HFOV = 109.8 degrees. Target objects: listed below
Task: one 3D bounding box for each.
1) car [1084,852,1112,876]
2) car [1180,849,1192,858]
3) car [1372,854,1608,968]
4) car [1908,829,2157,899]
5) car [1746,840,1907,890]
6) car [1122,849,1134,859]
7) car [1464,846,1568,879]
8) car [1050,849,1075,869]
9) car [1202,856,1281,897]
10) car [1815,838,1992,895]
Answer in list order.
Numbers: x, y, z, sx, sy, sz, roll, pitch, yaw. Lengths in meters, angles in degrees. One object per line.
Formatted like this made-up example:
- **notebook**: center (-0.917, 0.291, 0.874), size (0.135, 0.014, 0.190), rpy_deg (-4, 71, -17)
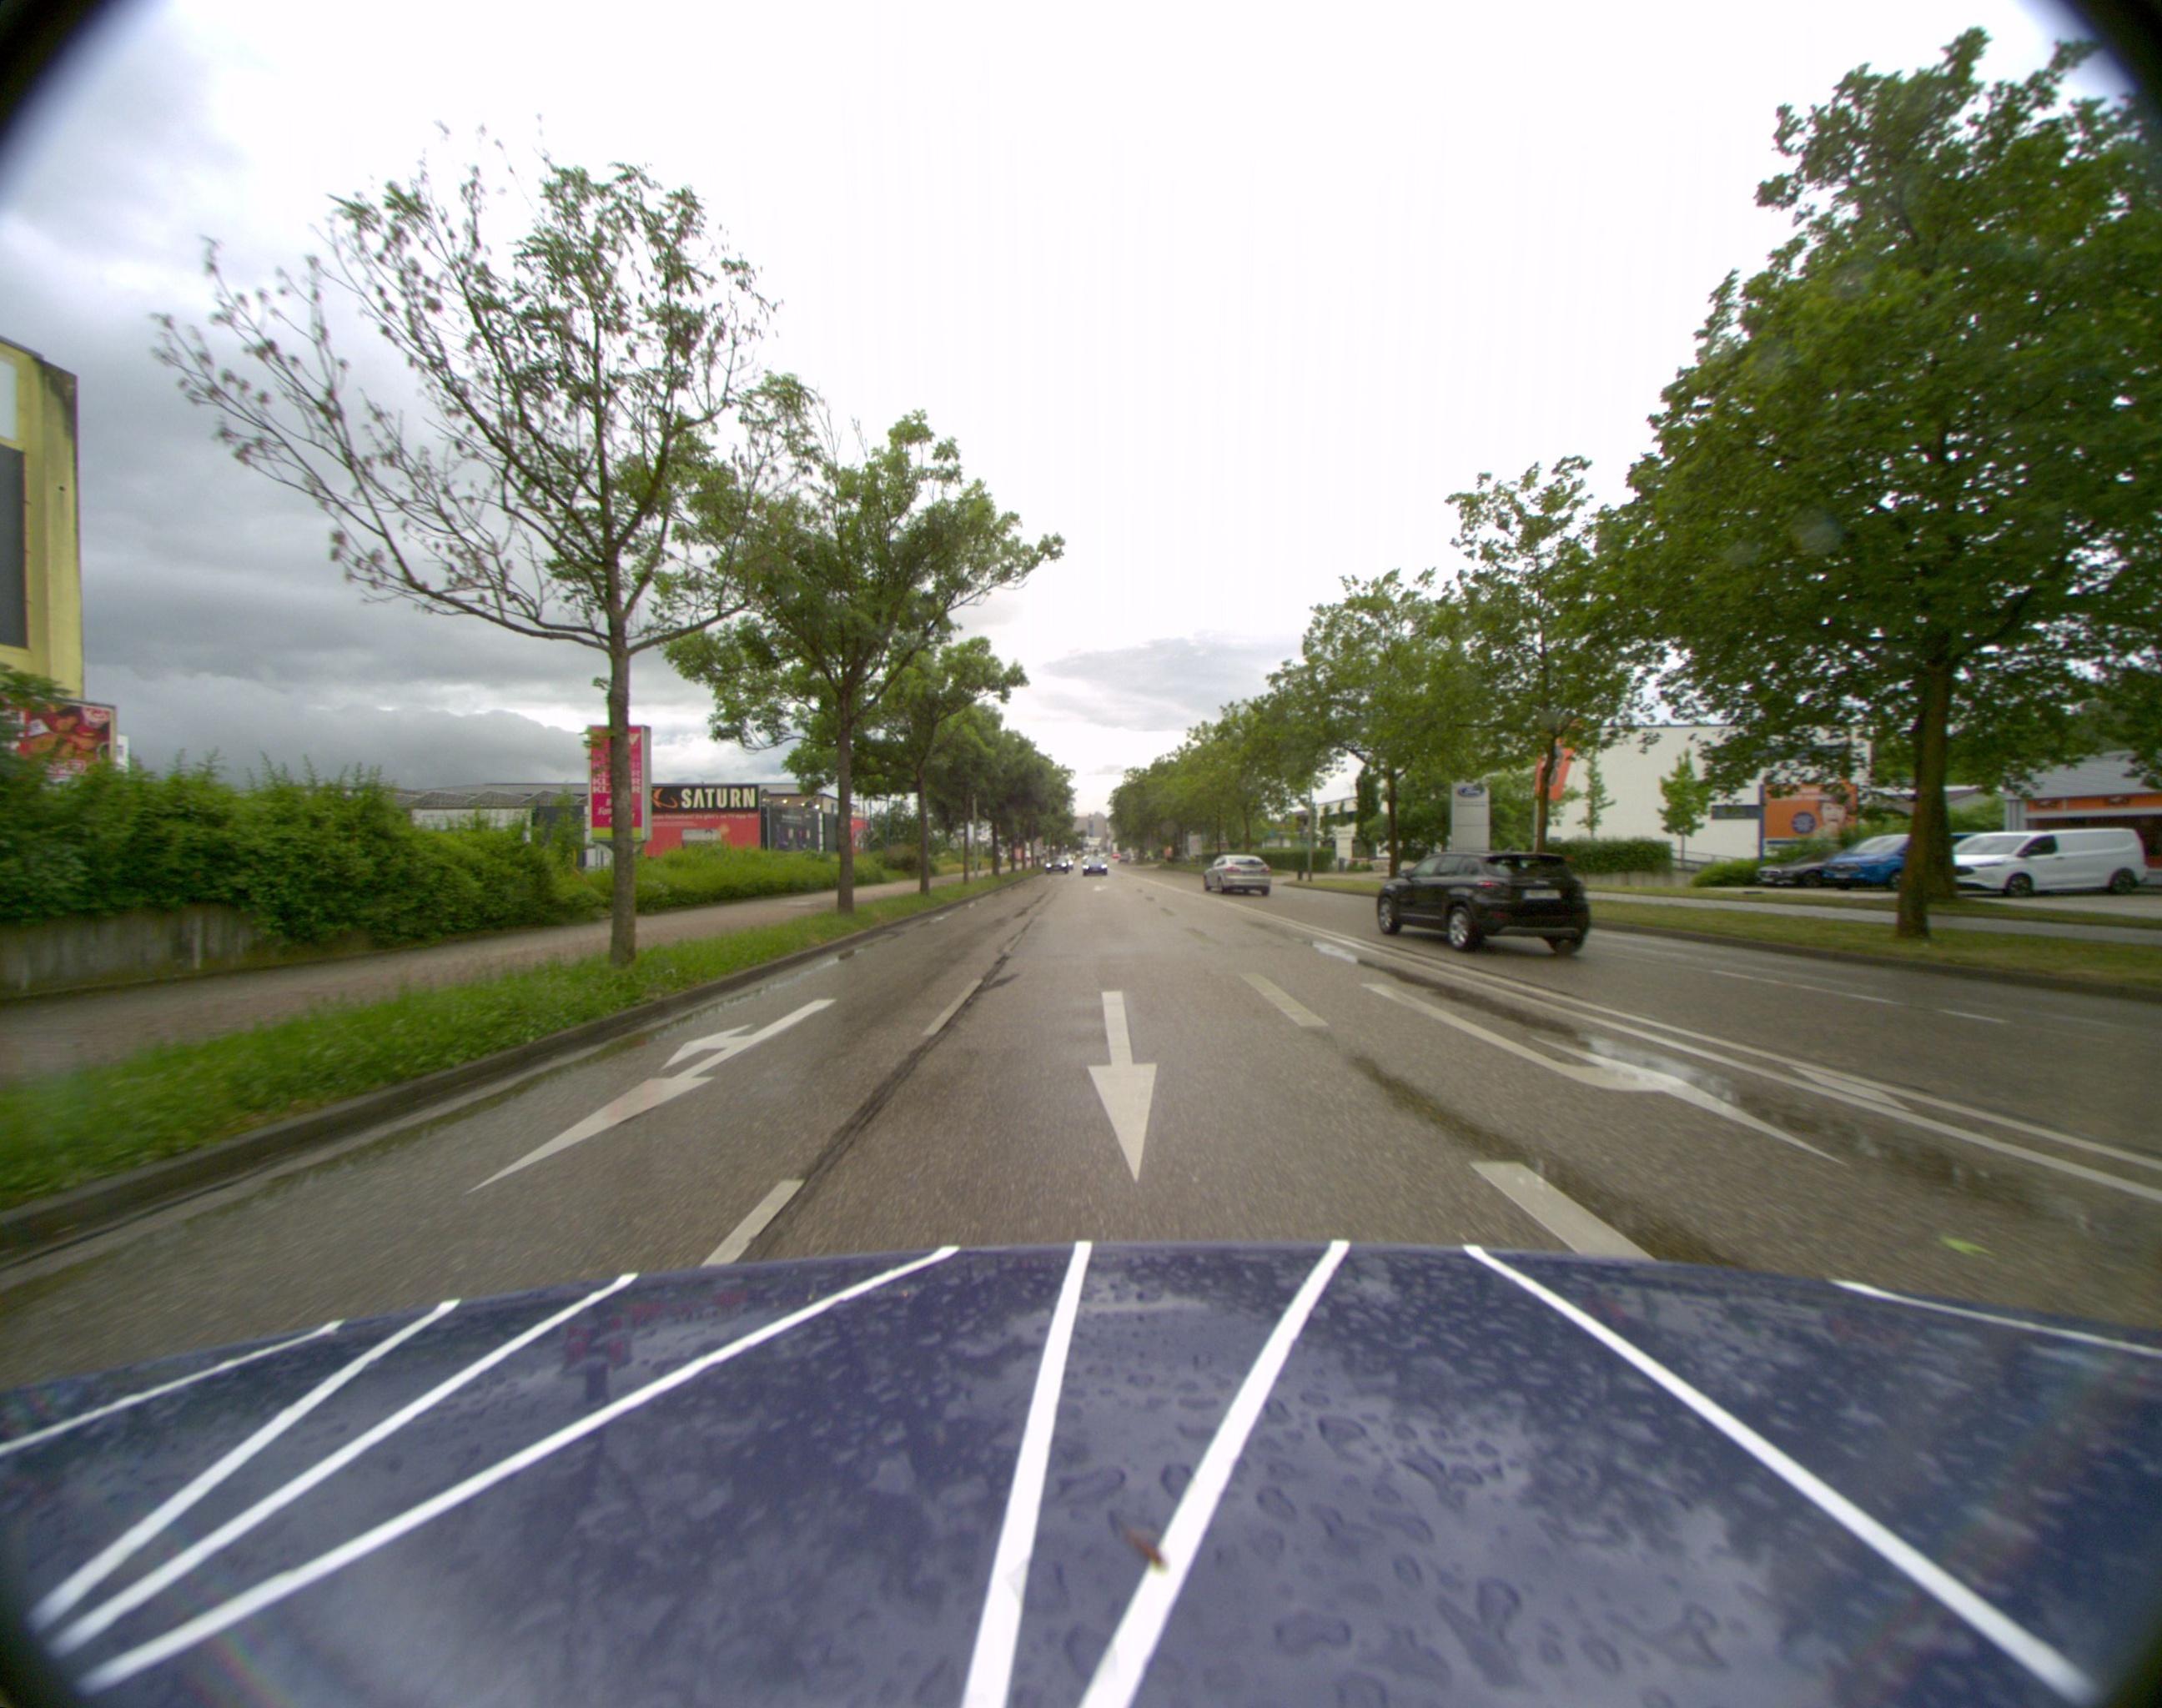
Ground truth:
- **car**: center (1.266, 0.720, 57.400), size (1.998, 1.632, 4.360), rpy_deg (-2, 1, 1)
- **car**: center (19.191, -0.050, 139.056), size (1.746, 1.525, 4.000), rpy_deg (1, 1, 2)
- **car**: center (6.332, 0.783, 12.334), size (1.767, 1.522, 3.858), rpy_deg (1, 0, 1)
- **car**: center (28.973, 0.288, 23.271), size (5.058, 2.002, 2.129), rpy_deg (-1, 0, -1)
- **car**: center (28.475, 0.418, 29.140), size (4.136, 1.803, 2.066), rpy_deg (-1, 0, 1)
- **car**: center (9.192, 0.016, 150.140), size (1.916, 1.795, 5.340), rpy_deg (1, 0, -1)
- **car**: center (21.354, 0.381, 37.585), size (2.123, 1.487, 5.246), rpy_deg (0, 0, 0)
- **car**: center (-1.658, 0.421, 68.152), size (1.998, 1.632, 4.360), rpy_deg (-2, 1, 1)
- **car**: center (6.057, 0.808, 29.324), size (1.999, 1.421, 4.684), rpy_deg (0, 0, -1)
- **car**: center (28.489, 0.417, 26.432), size (3.996, 1.878, 1.963), rpy_deg (-1, 0, 1)
